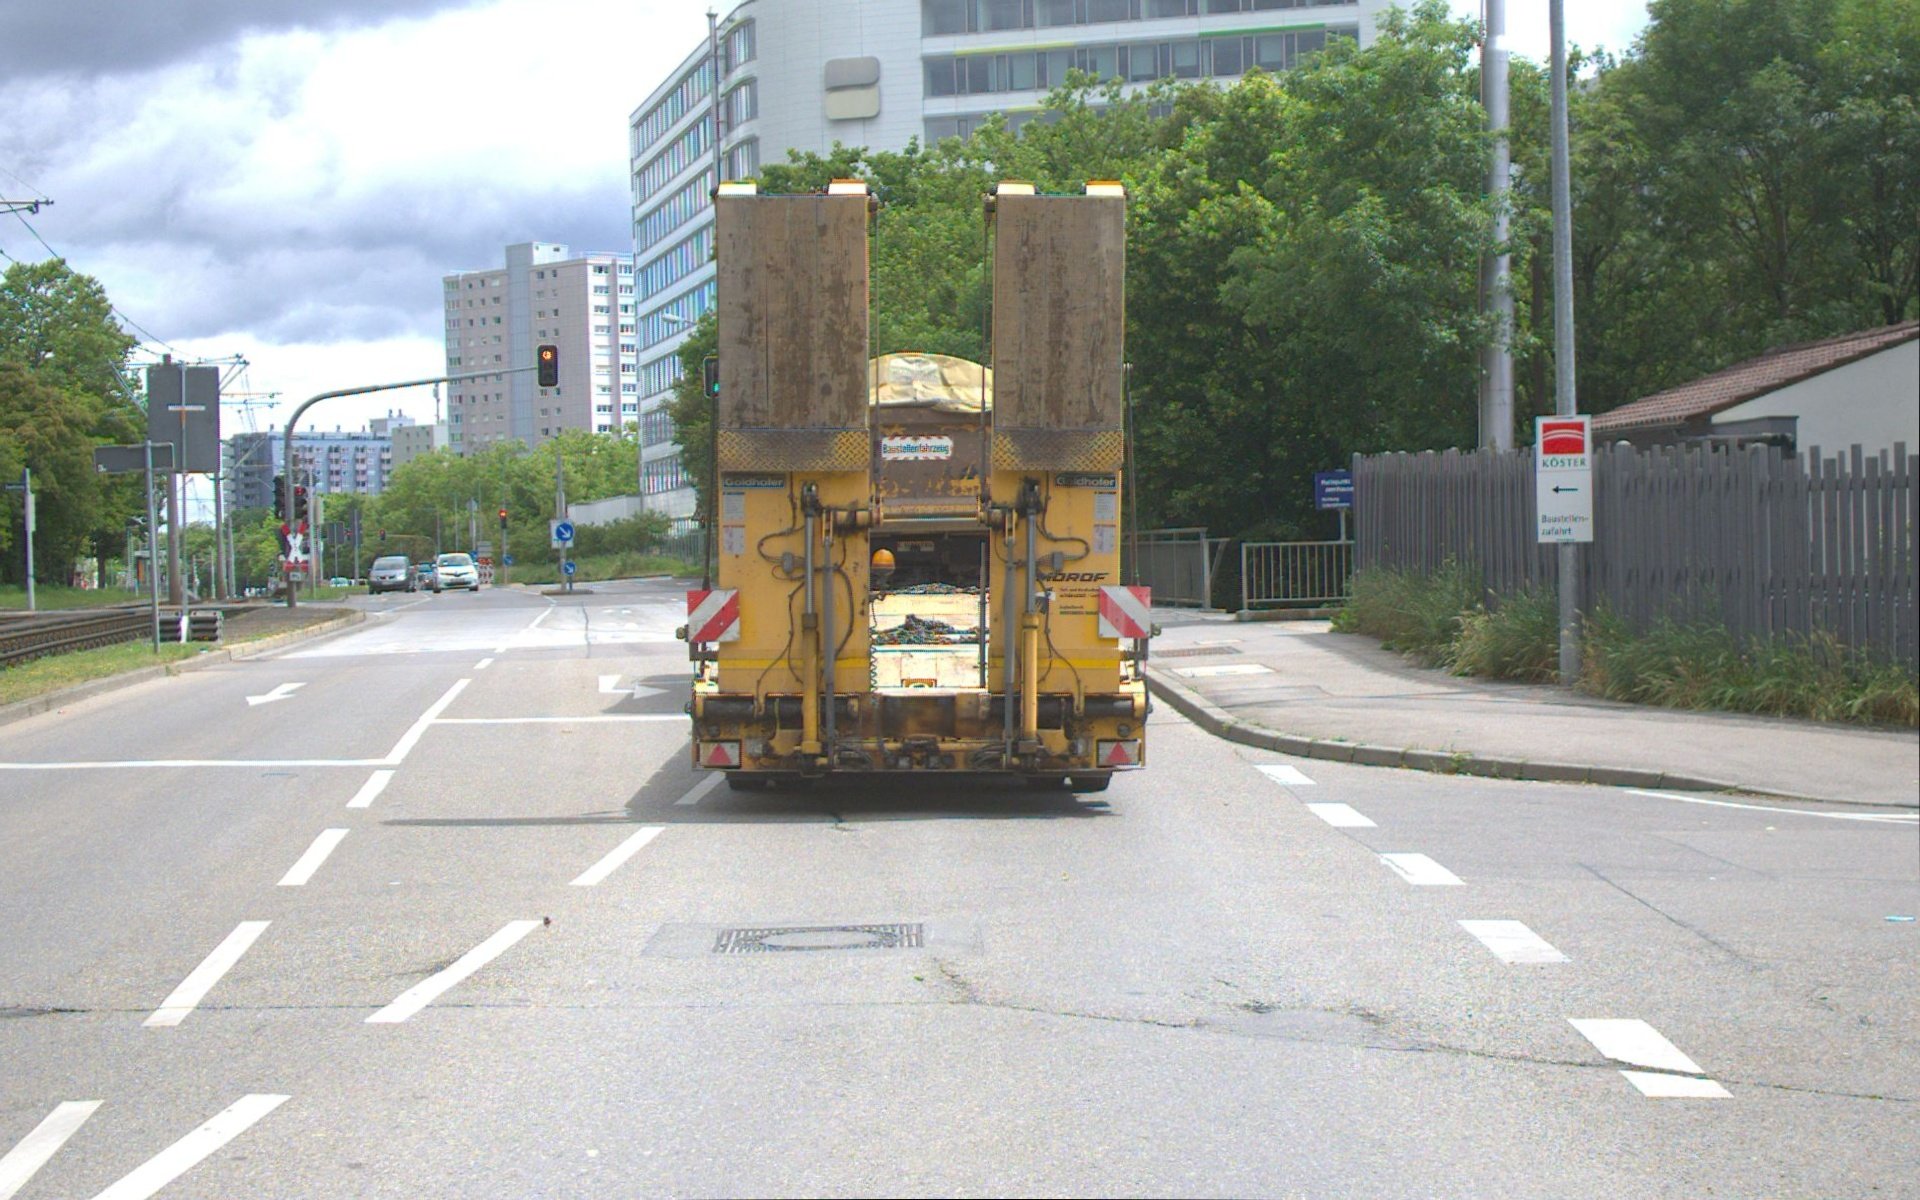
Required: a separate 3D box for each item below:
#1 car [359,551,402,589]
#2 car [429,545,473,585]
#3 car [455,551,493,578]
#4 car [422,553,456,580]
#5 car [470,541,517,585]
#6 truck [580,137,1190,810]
[{"bbox_3d":[-25.494,-1.321,151.252,1.783,1.564,4.346,-2,1,-9],"label":"car"},{"bbox_3d":[-20.328,-1.386,137.261,1.593,1.521,3.656,-2,1,-7],"label":"car"},{"bbox_3d":[-25.858,-1.906,182.911,1.993,1.415,4.001,0,1,-8],"label":"car"},{"bbox_3d":[-31.351,-2.021,207.035,1.993,1.612,4.001,0,1,-8],"label":"car"},{"bbox_3d":[-20.409,-1.621,150.240,1.993,1.919,4.001,0,1,-8],"label":"car"},{"bbox_3d":[-0.755,-0.746,24.950,3.315,3.638,12.563,0,1,-3],"label":"truck"}]
